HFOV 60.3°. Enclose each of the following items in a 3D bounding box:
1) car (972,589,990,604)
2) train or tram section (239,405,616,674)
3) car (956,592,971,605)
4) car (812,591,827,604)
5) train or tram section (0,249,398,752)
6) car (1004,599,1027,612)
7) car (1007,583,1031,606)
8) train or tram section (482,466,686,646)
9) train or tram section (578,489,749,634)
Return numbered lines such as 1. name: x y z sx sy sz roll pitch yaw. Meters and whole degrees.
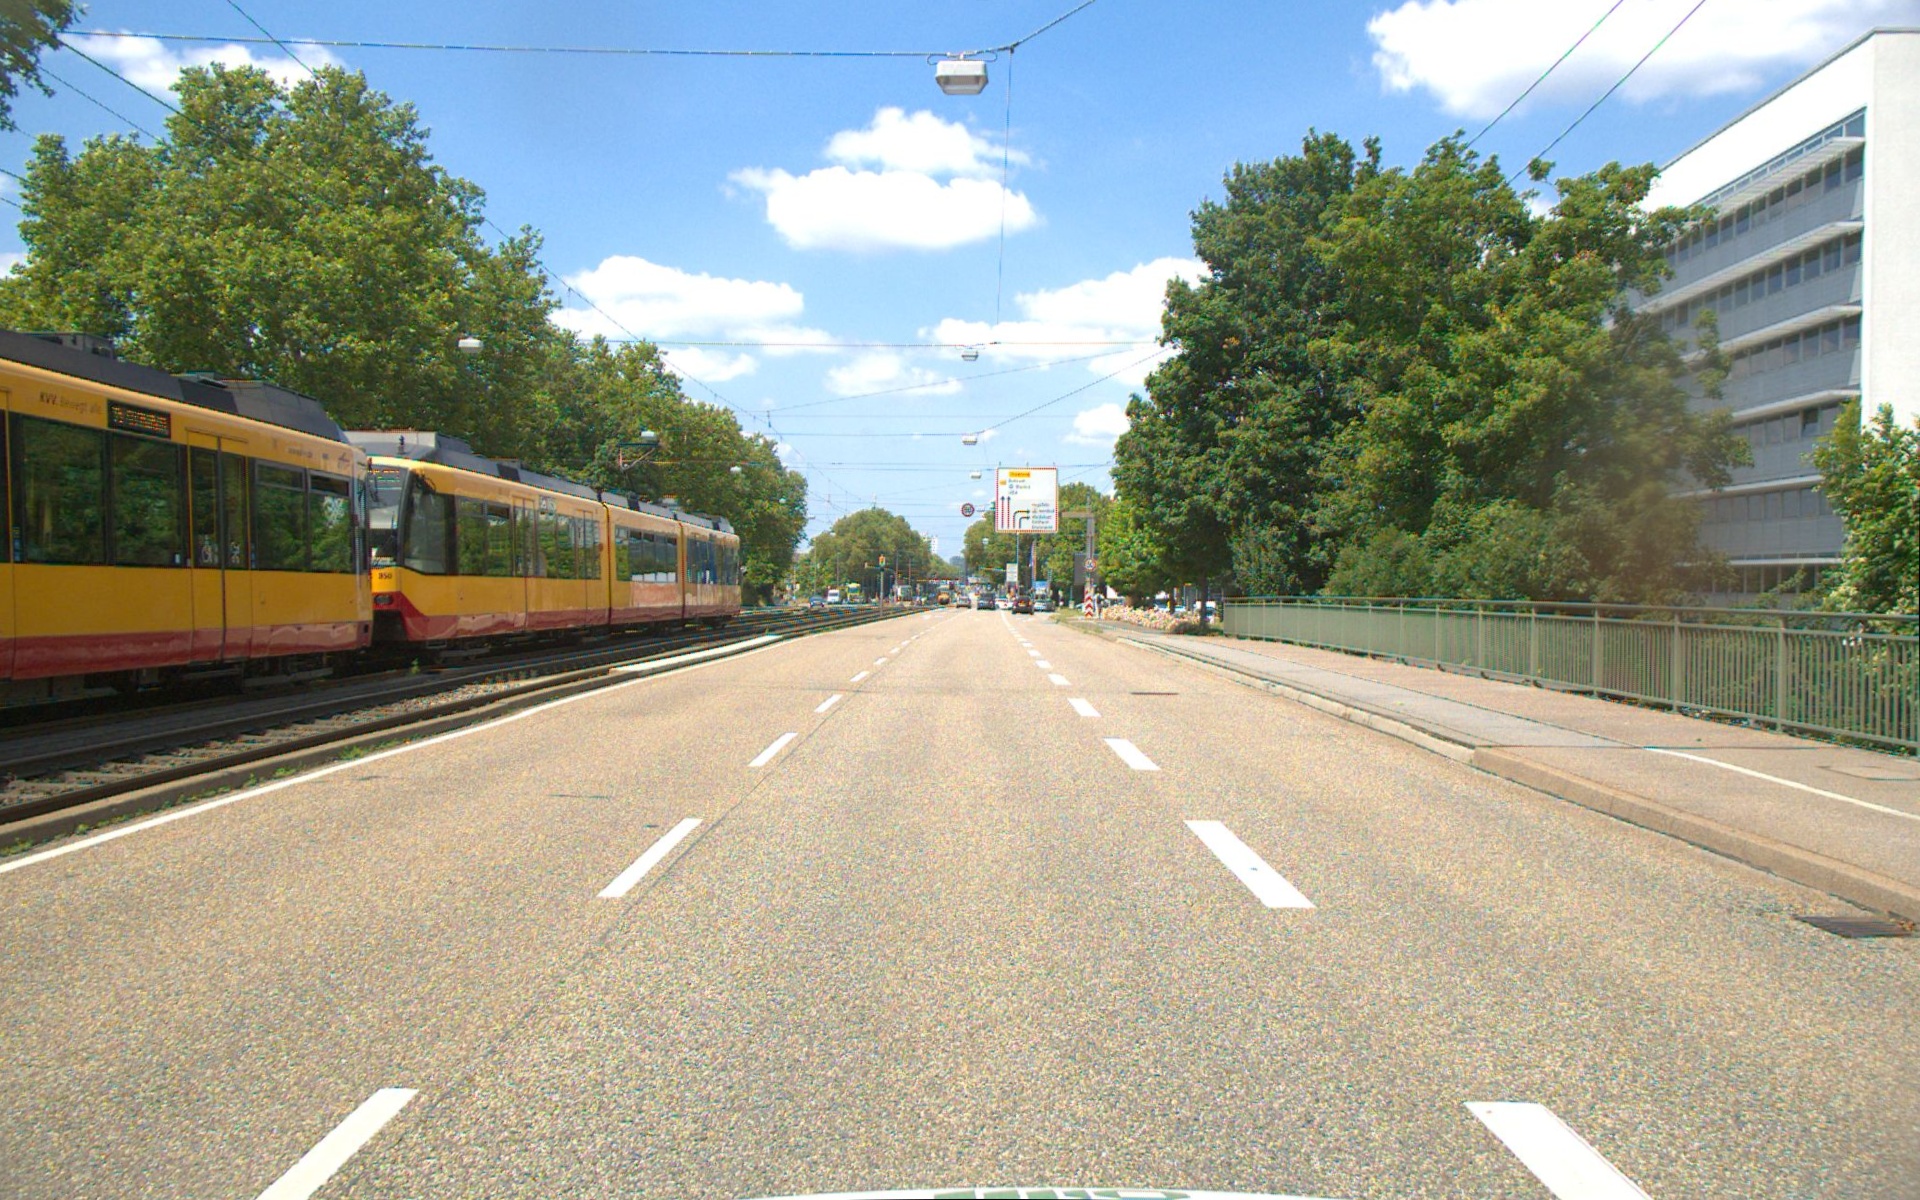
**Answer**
1. car: 2.388 -0.398 188.357 1.838 1.566 3.776 2 0 -1
2. train or tram section: -9.786 -1.000 32.771 2.975 4.227 13.483 0 0 1
3. car: 0.428 -0.201 216.749 1.805 1.576 3.776 3 0 -1
4. car: -18.760 -0.358 220.630 1.611 1.577 4.216 2 0 -1
5. train or tram section: -9.786 -0.893 17.478 2.986 4.341 14.035 0 1 0
6. car: 7.413 0.751 220.002 1.651 1.576 3.982 3 0 23
7. car: 5.025 -0.487 141.573 1.861 1.837 3.976 2 0 -1
8. train or tram section: -9.676 -1.072 43.944 2.975 4.221 10.234 0 0 1
9. train or tram section: -9.520 -1.167 55.068 2.975 4.213 13.983 0 0 1
